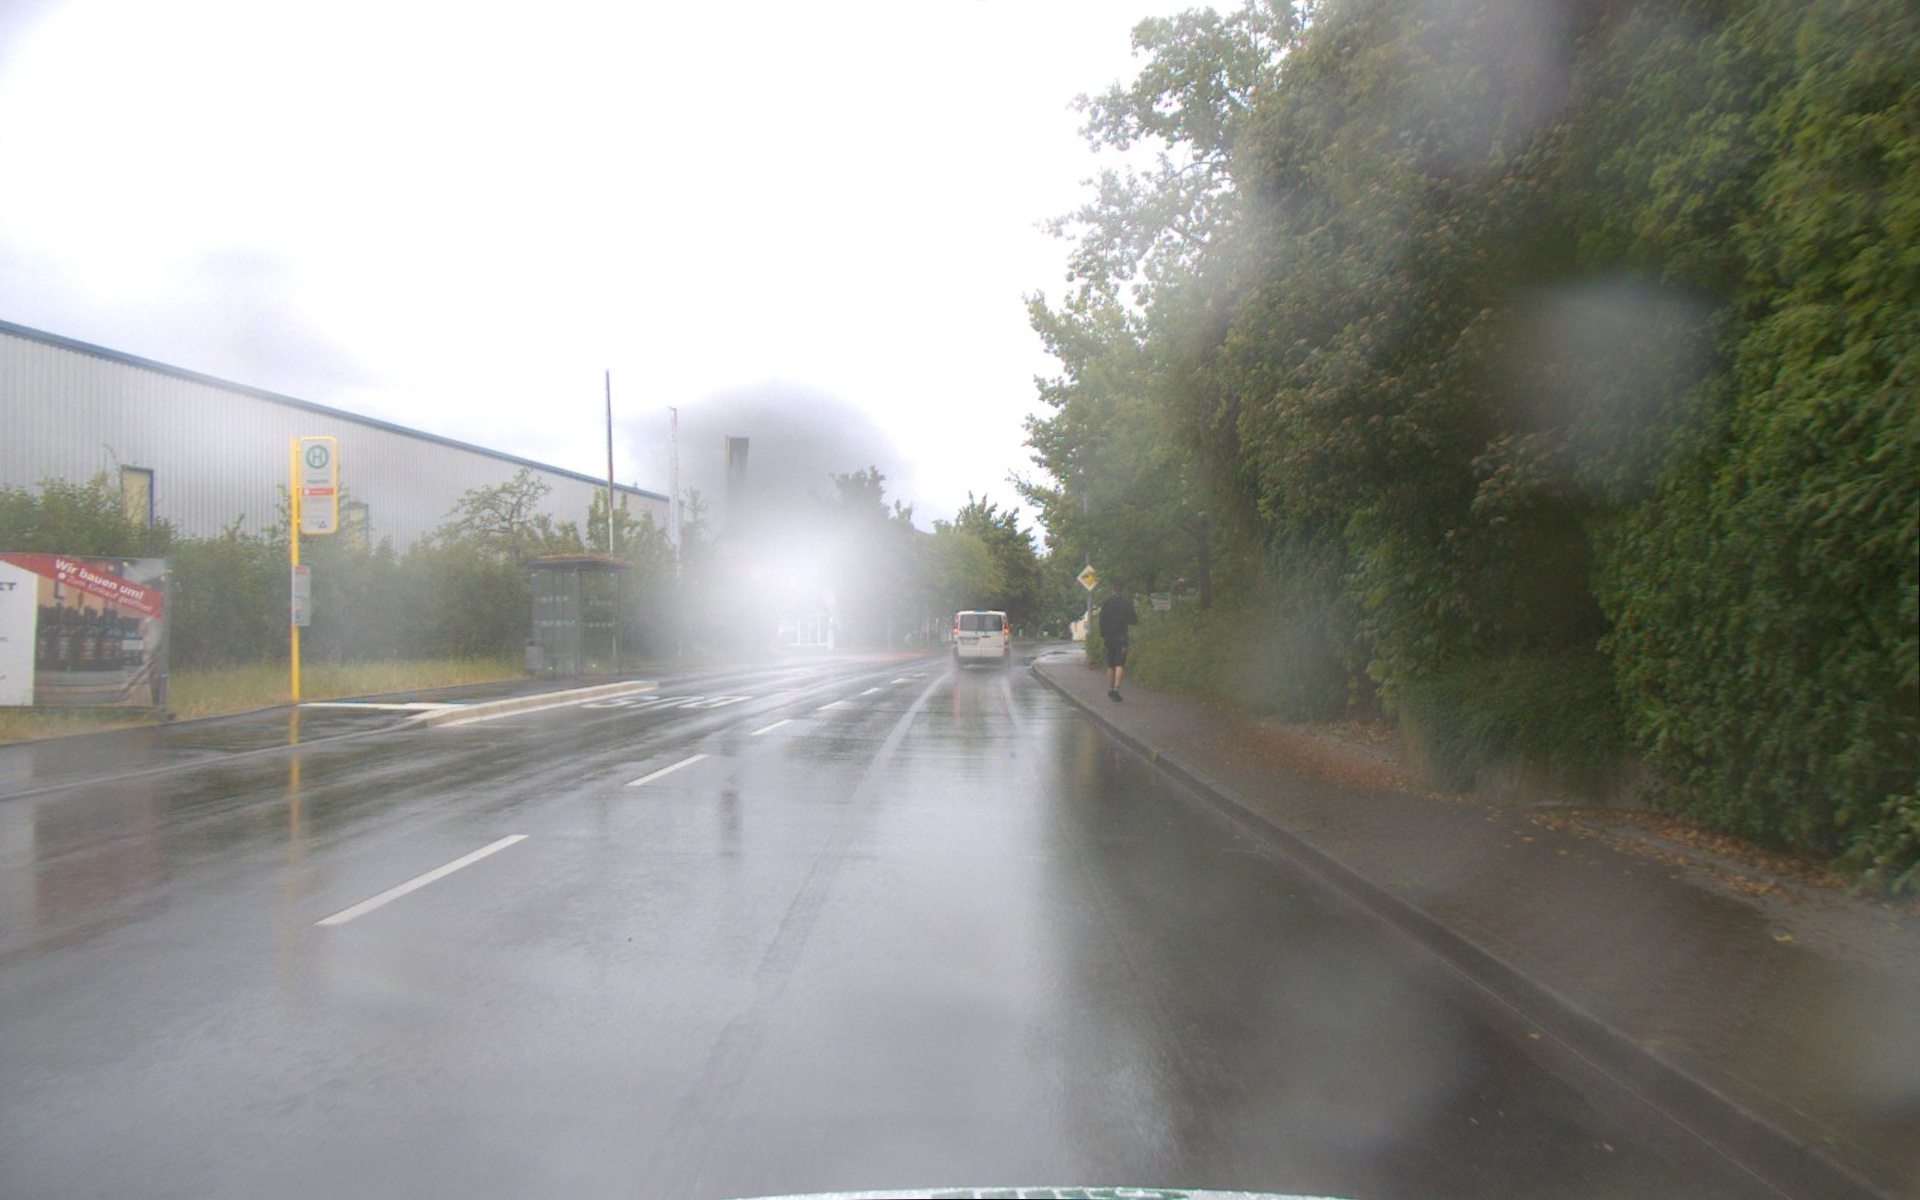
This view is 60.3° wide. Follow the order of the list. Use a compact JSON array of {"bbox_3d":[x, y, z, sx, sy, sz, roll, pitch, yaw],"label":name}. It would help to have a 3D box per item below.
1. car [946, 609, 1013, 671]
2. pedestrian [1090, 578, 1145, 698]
[{"bbox_3d":[0.671,1.262,53.490,2.073,1.921,4.503,0,0,2],"label":"car"},{"bbox_3d":[2.520,0.608,26.527,0.730,1.870,0.890,-2,-1,-1],"label":"pedestrian"}]
